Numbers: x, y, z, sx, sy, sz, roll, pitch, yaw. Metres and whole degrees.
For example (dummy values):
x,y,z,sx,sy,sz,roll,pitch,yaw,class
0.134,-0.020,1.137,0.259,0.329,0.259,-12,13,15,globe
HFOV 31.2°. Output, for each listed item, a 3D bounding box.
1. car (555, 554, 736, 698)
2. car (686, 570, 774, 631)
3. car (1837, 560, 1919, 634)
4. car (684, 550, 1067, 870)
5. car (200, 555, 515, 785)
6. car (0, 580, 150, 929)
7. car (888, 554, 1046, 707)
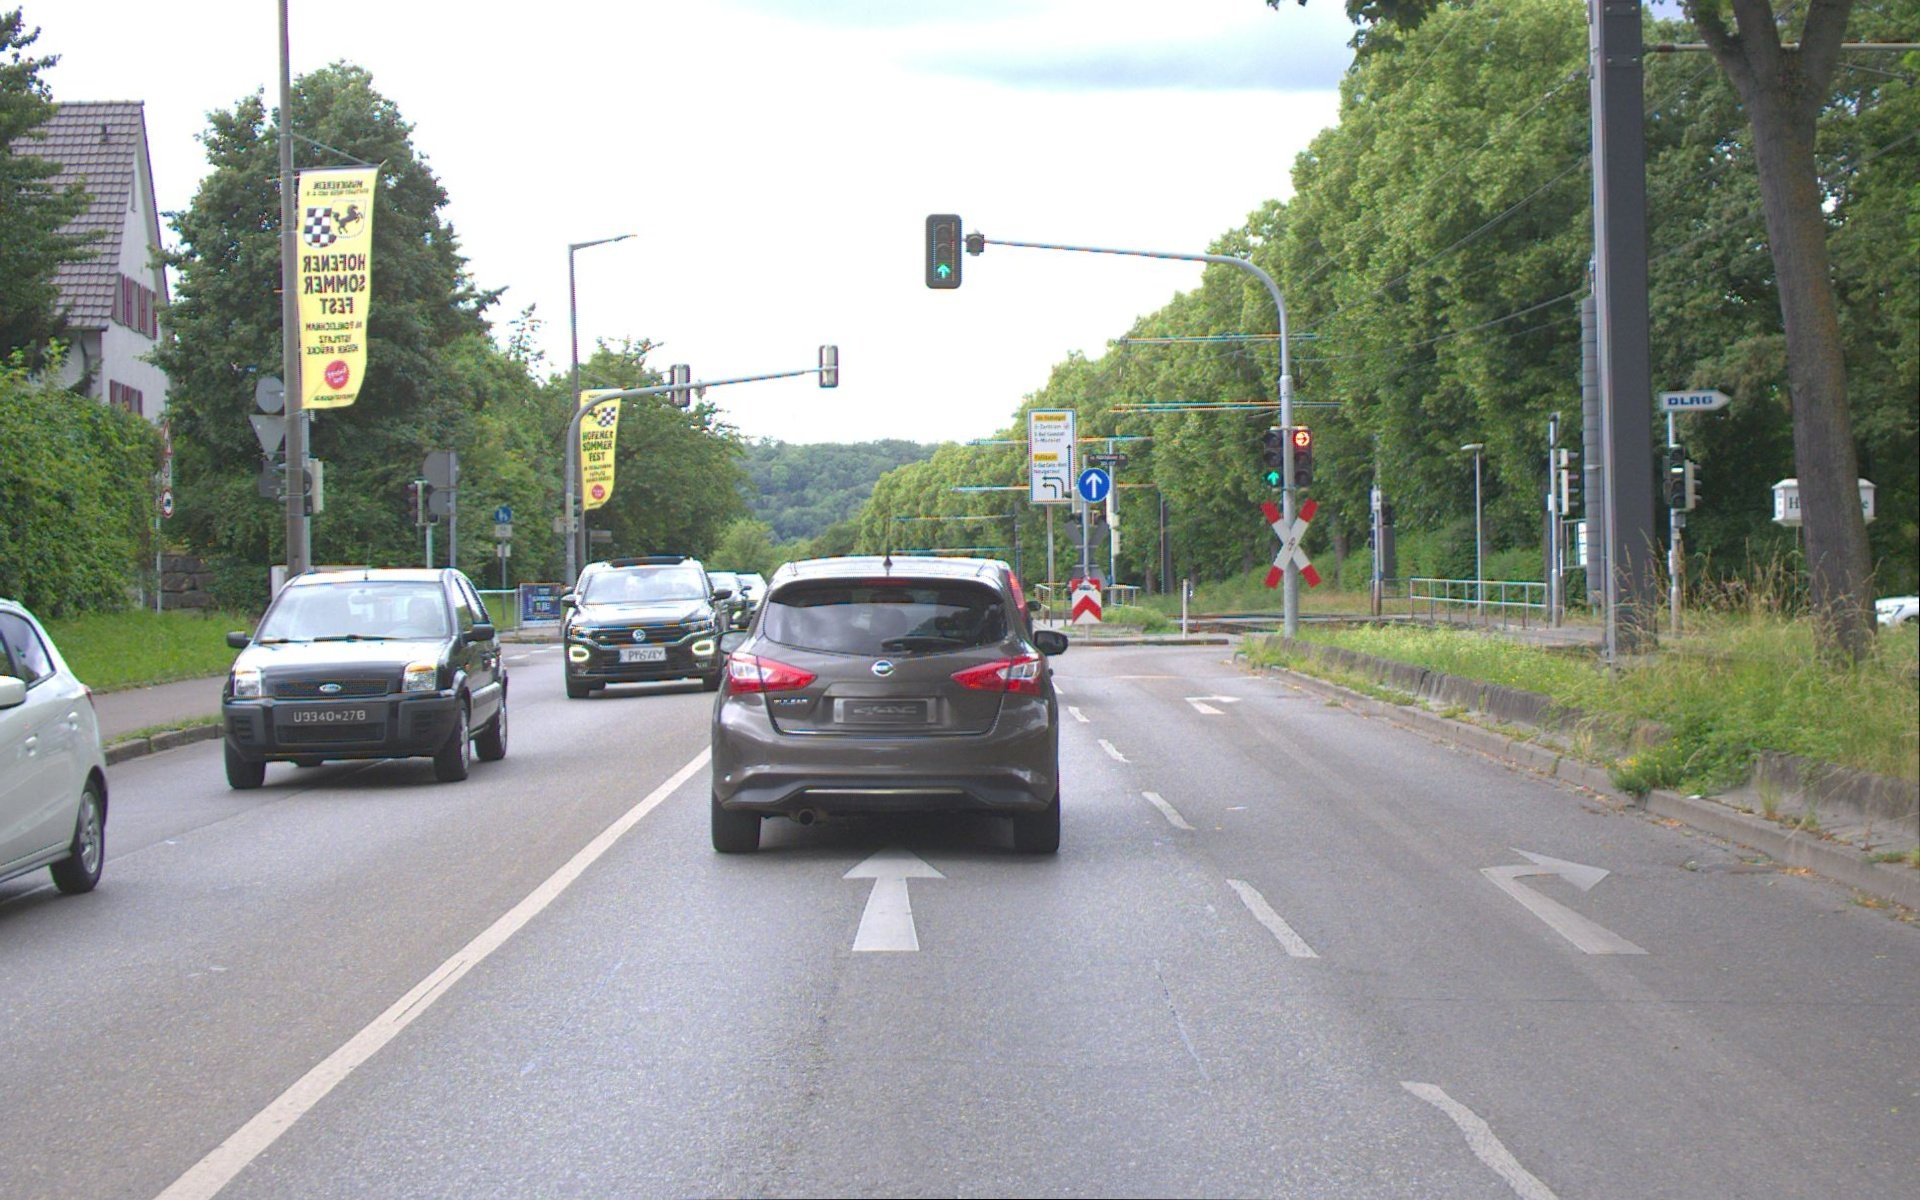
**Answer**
x,y,z,sx,sy,sz,roll,pitch,yaw,class
-3.617,0.260,40.131,1.812,1.519,4.178,-2,1,-2,car
-5.667,-0.016,85.035,1.812,1.368,4.160,3,1,0,car
19.237,0.014,66.337,3.986,1.349,2.000,3,0,-5,car
-0.413,0.500,18.898,1.835,1.514,4.483,1,1,0,car
-4.345,0.448,25.332,1.643,1.476,4.107,-2,1,-2,car
-4.920,0.708,15.186,1.618,1.456,4.072,-3,1,0,car
0.066,0.276,35.602,1.538,1.473,3.764,-1,1,0,car
